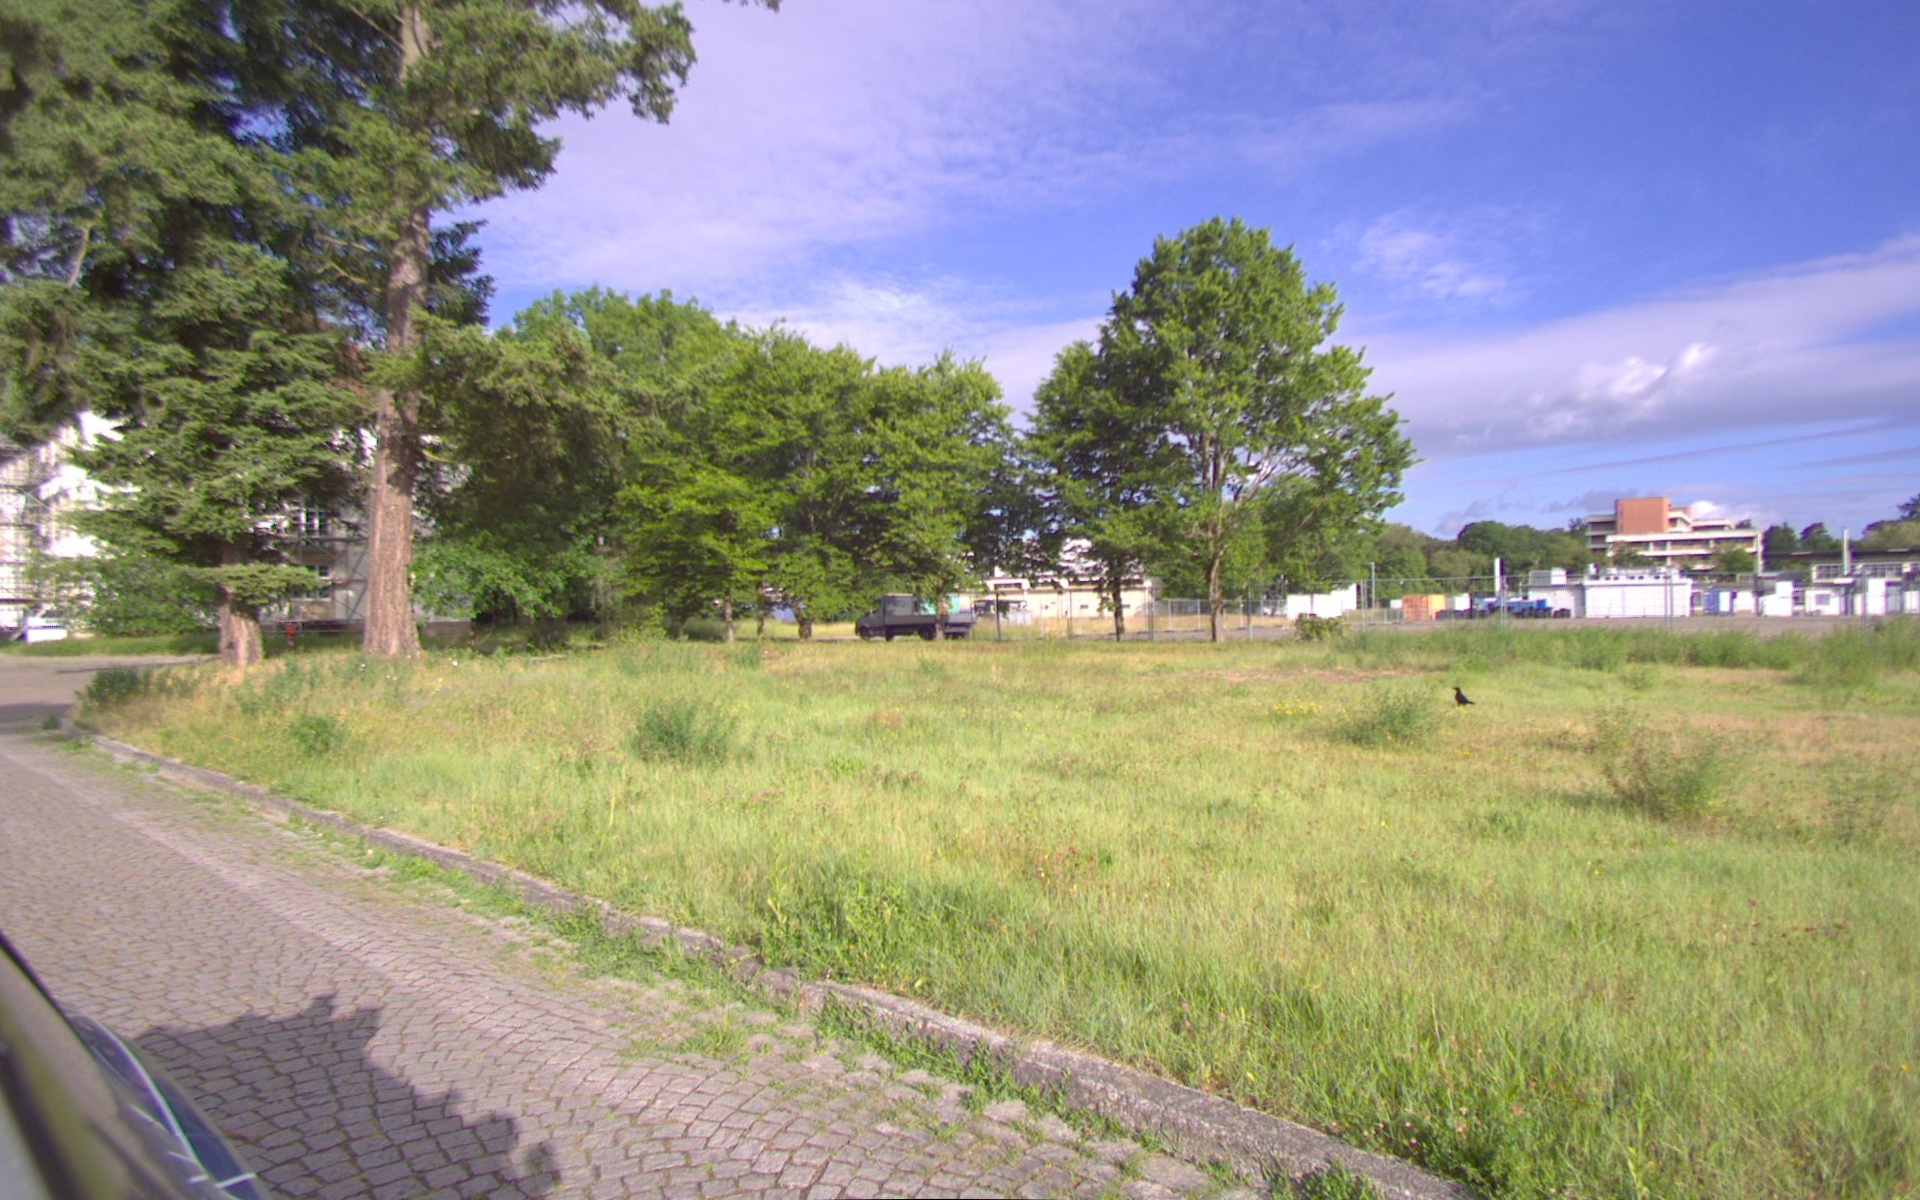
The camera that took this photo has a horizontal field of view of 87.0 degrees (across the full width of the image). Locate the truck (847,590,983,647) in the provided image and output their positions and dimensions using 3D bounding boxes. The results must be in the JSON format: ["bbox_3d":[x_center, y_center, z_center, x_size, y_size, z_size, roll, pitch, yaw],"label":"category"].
[{"bbox_3d":[-2.286,0.906,49.280,6.957,2.606,2.385,-2,-1,43],"label":"truck"}]
